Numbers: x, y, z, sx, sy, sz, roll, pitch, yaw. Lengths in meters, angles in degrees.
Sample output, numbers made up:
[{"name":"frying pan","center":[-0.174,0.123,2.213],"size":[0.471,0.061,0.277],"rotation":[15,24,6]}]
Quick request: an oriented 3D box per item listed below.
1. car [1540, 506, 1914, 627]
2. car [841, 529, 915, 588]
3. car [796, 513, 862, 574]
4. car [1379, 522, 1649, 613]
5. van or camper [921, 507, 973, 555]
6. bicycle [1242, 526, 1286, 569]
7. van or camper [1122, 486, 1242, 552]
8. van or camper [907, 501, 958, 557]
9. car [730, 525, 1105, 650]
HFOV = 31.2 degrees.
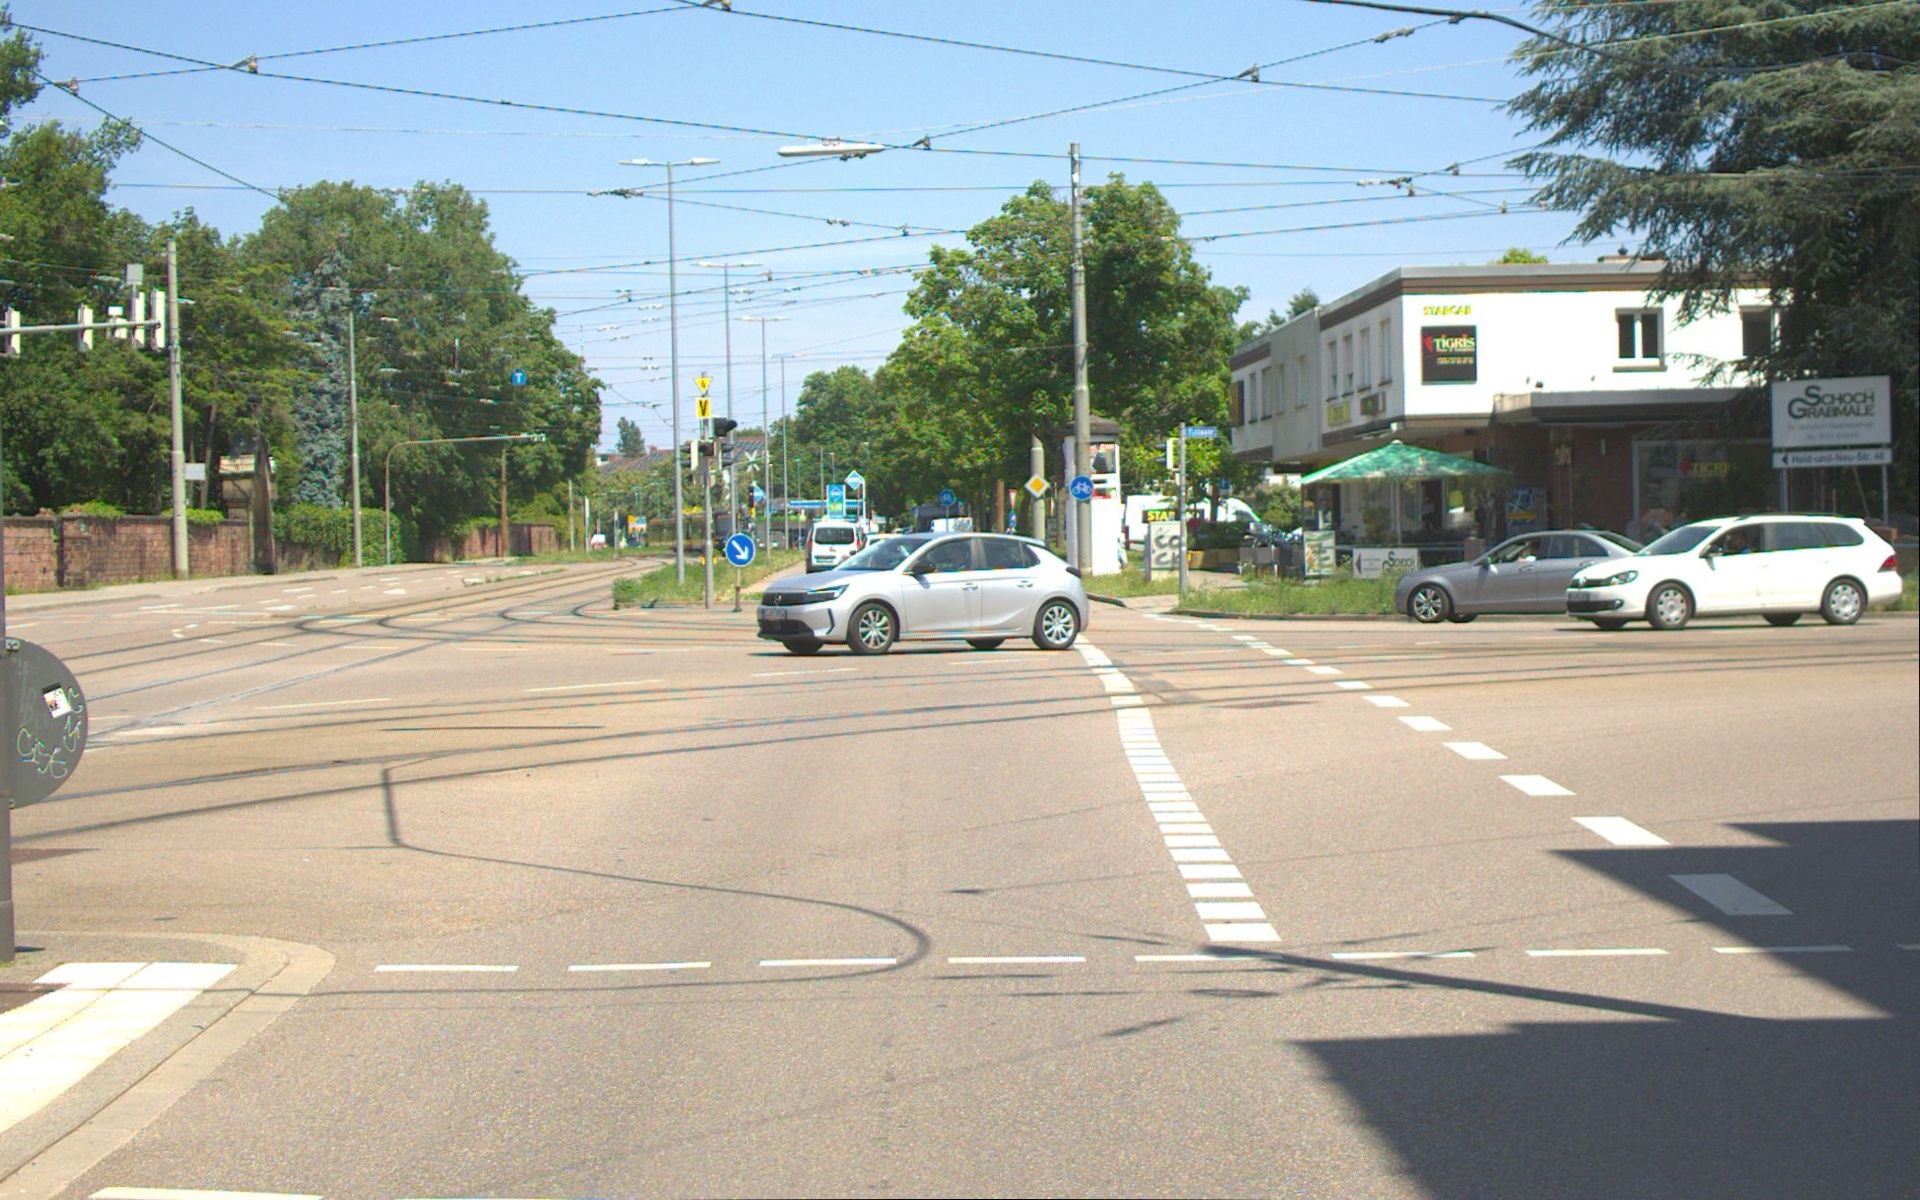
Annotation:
[{"name":"car","center":[10.125,-0.461,45.444],"size":[4.483,1.484,1.824],"rotation":[-1,1,-16]},{"name":"car","center":[-2.079,-1.062,86.428],"size":[1.670,1.430,3.475],"rotation":[-1,1,-4]},{"name":"car","center":[-4.169,-1.787,108.643],"size":[1.993,1.853,4.001],"rotation":[-1,1,-3]},{"name":"car","center":[8.533,-0.505,52.960],"size":[3.833,1.346,1.640],"rotation":[0,1,22]},{"name":"van or camper","center":[-0.496,-2.635,130.390],"size":[1.922,1.766,4.000],"rotation":[-1,1,-1]},{"name":"bicycle","center":[7.476,-1.303,84.521],"size":[1.034,1.011,2.636],"rotation":[-1,1,6]},{"name":"van or camper","center":[9.250,-3.369,143.407],"size":[4.756,2.662,2.136],"rotation":[-1,1,-3]},{"name":"van or camper","center":[-1.254,-3.164,152.856],"size":[1.993,2.456,4.001],"rotation":[-1,1,-4]},{"name":"car","center":[-0.482,-0.175,40.407],"size":[4.038,1.358,1.824],"rotation":[-2,1,-32]}]
